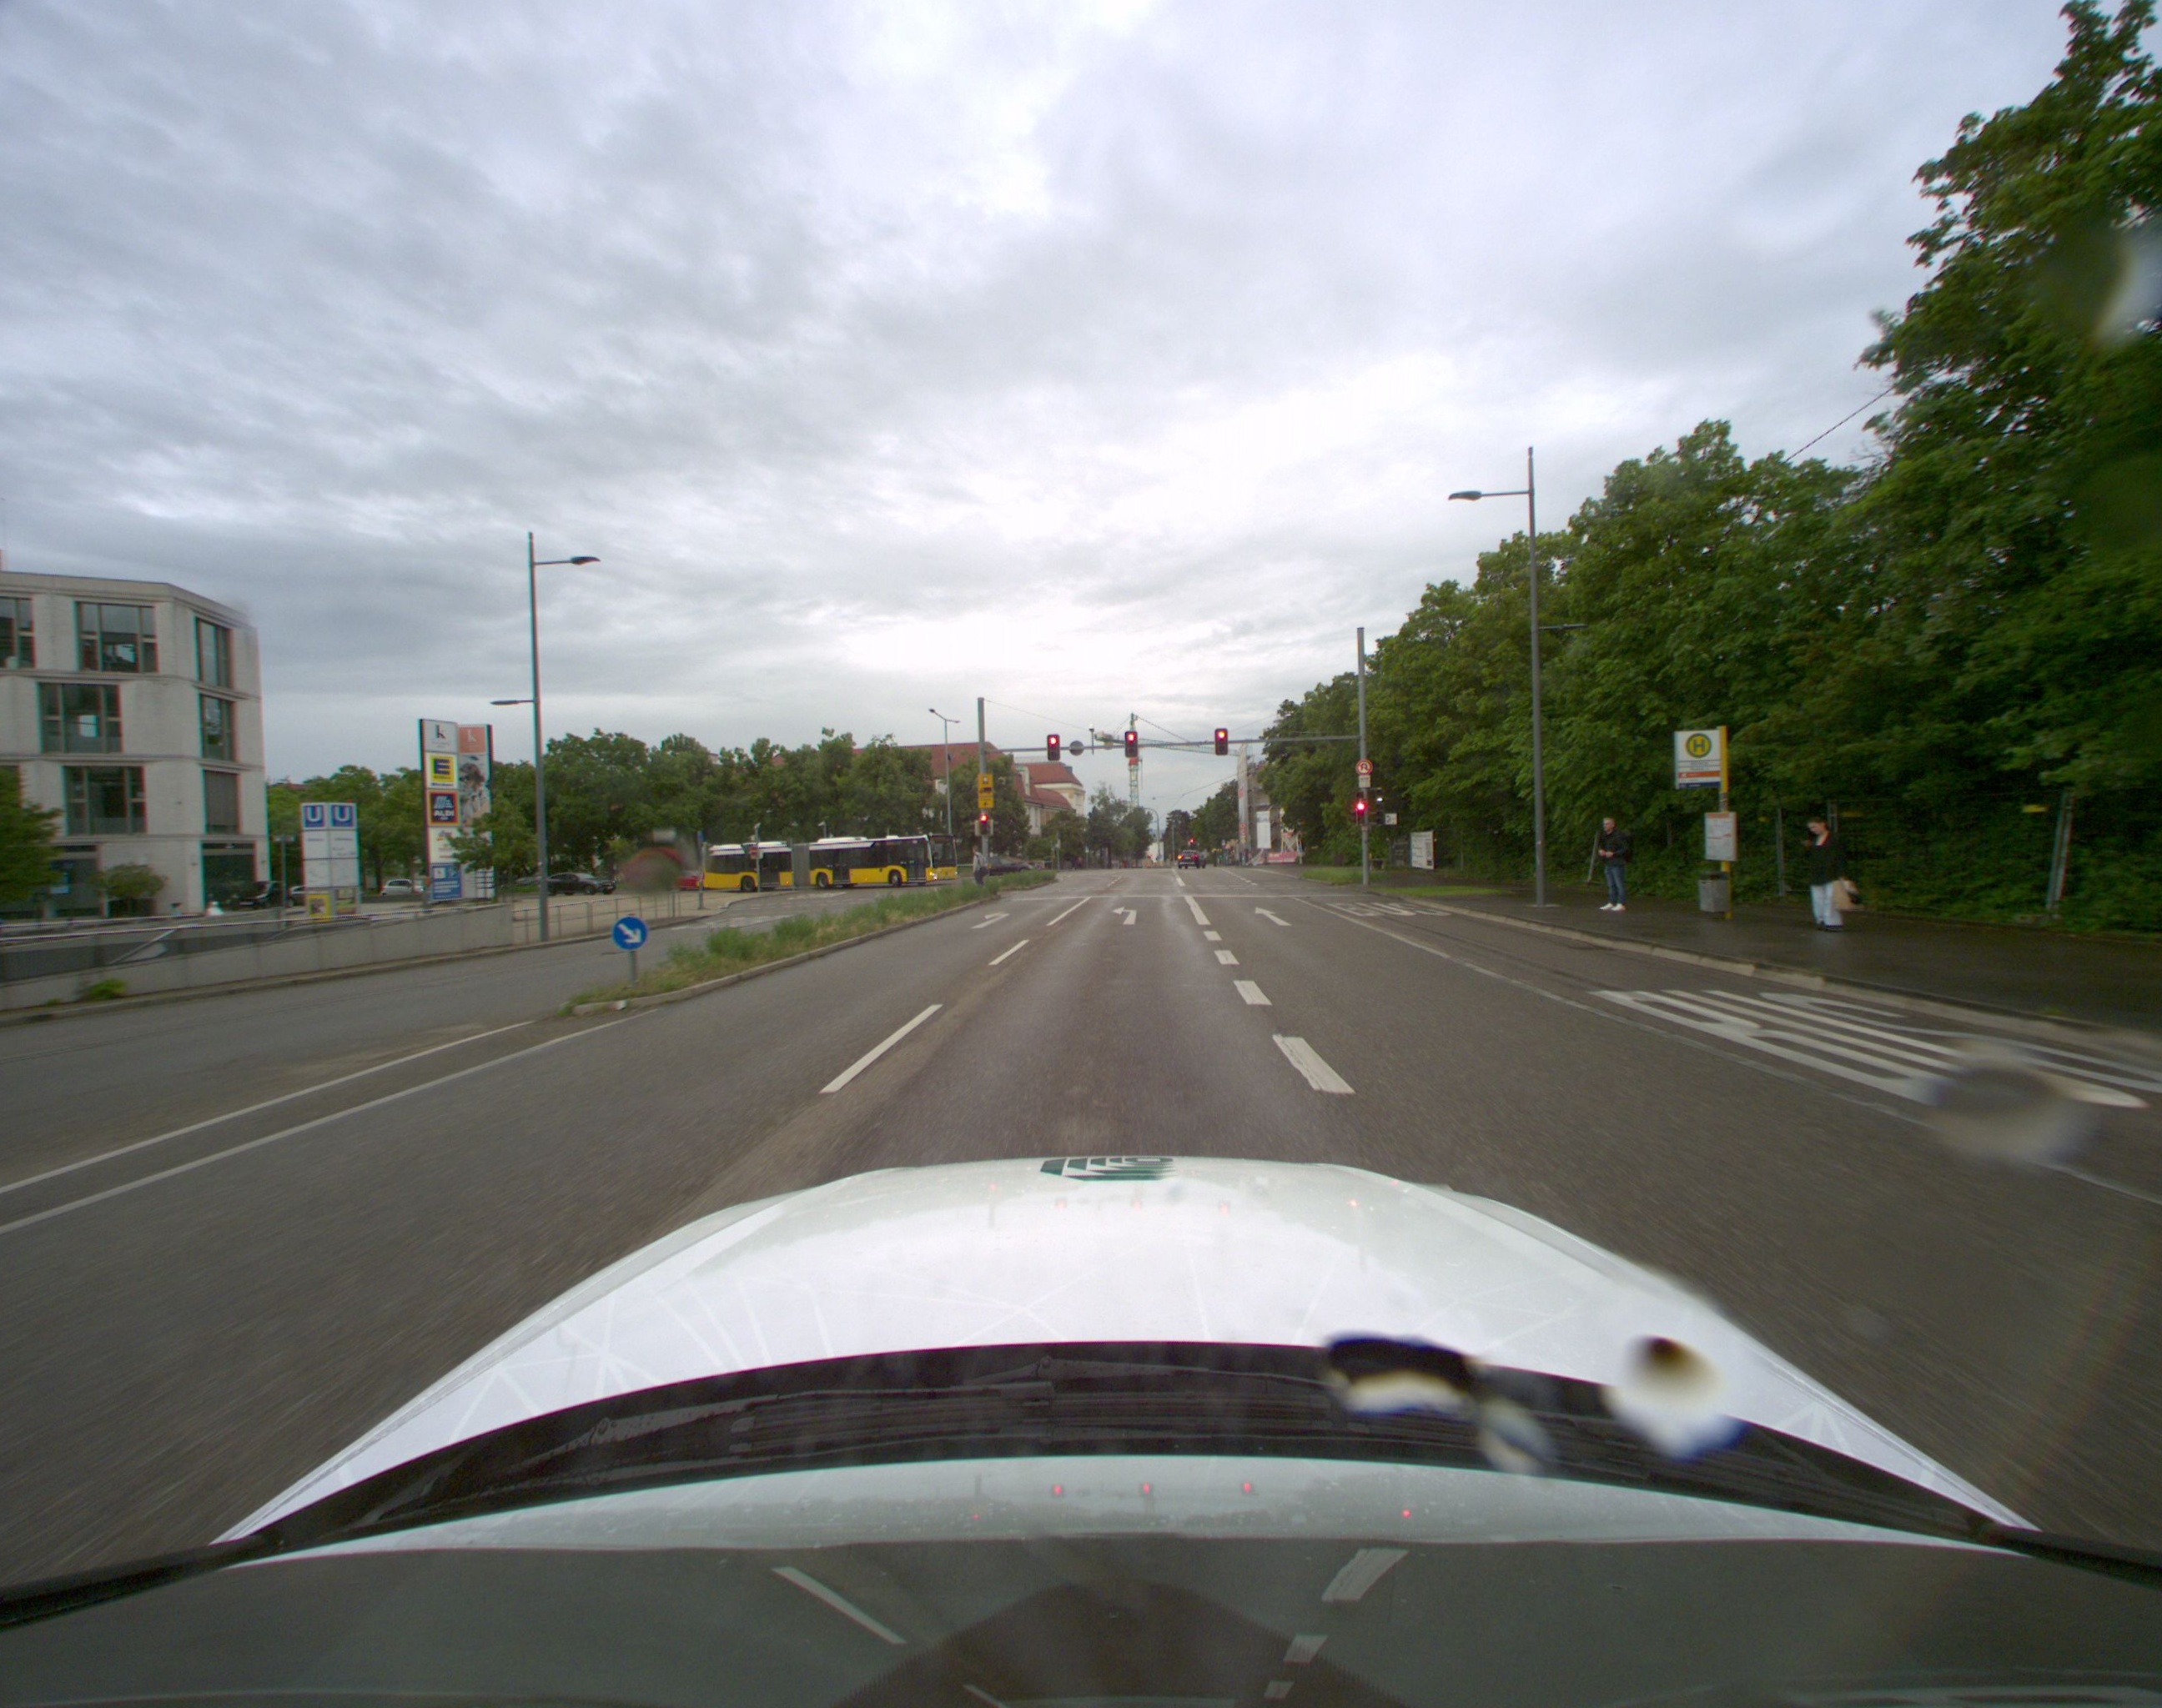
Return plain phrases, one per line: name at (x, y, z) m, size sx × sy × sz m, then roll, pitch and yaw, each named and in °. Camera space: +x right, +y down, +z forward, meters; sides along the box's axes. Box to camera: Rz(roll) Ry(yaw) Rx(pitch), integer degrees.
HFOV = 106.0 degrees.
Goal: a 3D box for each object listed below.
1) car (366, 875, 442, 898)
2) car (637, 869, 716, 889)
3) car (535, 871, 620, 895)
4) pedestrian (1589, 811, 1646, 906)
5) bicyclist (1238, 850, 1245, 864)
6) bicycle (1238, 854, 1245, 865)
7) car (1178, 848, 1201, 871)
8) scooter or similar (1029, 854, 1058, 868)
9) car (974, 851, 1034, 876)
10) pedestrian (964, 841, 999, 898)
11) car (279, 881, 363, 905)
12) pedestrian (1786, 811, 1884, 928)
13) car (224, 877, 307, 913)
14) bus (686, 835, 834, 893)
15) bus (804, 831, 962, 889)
car at (-46.471, 2.200, 55.946) m, size 3.756 × 1.425 × 1.847 m, roll -1°, pitch 0°, yaw 4°
car at (-28.218, 1.746, 56.875) m, size 4.551 × 1.425 × 2.003 m, roll 0°, pitch -2°, yaw 5°
car at (-33.629, 1.943, 54.427) m, size 4.426 × 1.425 × 2.002 m, roll -1°, pitch 0°, yaw 4°
pedestrian at (11.019, 0.088, 16.749) m, size 0.638 × 1.901 × 0.718 m, roll -2°, pitch 0°, yaw 0°
bicyclist at (18.750, 0.369, 95.063) m, size 0.716 × 1.564 × 1.145 m, roll 0°, pitch -2°, yaw 7°
bicycle at (18.758, 0.633, 95.076) m, size 0.716 × 1.193 × 1.759 m, roll 0°, pitch -1°, yaw 7°
car at (9.697, 0.509, 73.101) m, size 1.935 × 2.021 × 4.557 m, roll 0°, pitch -2°, yaw 5°
scooter or similar at (-4.204, 0.823, 90.834) m, size 3.074 × 1.440 × 0.950 m, roll -2°, pitch 0°, yaw 3°
car at (-5.299, 0.664, 55.857) m, size 3.985 × 1.706 × 1.994 m, roll 0°, pitch -2°, yaw -9°
pedestrian at (-3.724, 0.574, 30.548) m, size 0.934 × 2.013 × 0.849 m, roll -5°, pitch -1°, yaw 11°
car at (-49.238, 2.509, 52.805) m, size 3.949 × 1.425 × 1.670 m, roll -1°, pitch 0°, yaw 4°
pedestrian at (11.228, 0.223, 12.146) m, size 0.673 × 1.658 × 0.793 m, roll -2°, pitch 0°, yaw 0°
car at (-44.556, 2.187, 44.621) m, size 1.781 × 1.731 × 3.970 m, roll -2°, pitch 0°, yaw -22°
bus at (-20.663, 0.636, 52.546) m, size 8.492 × 3.307 × 2.907 m, roll -2°, pitch 0°, yaw 11°
bus at (-12.015, 0.420, 49.070) m, size 9.633 × 3.103 × 2.915 m, roll -2°, pitch 0°, yaw 27°
